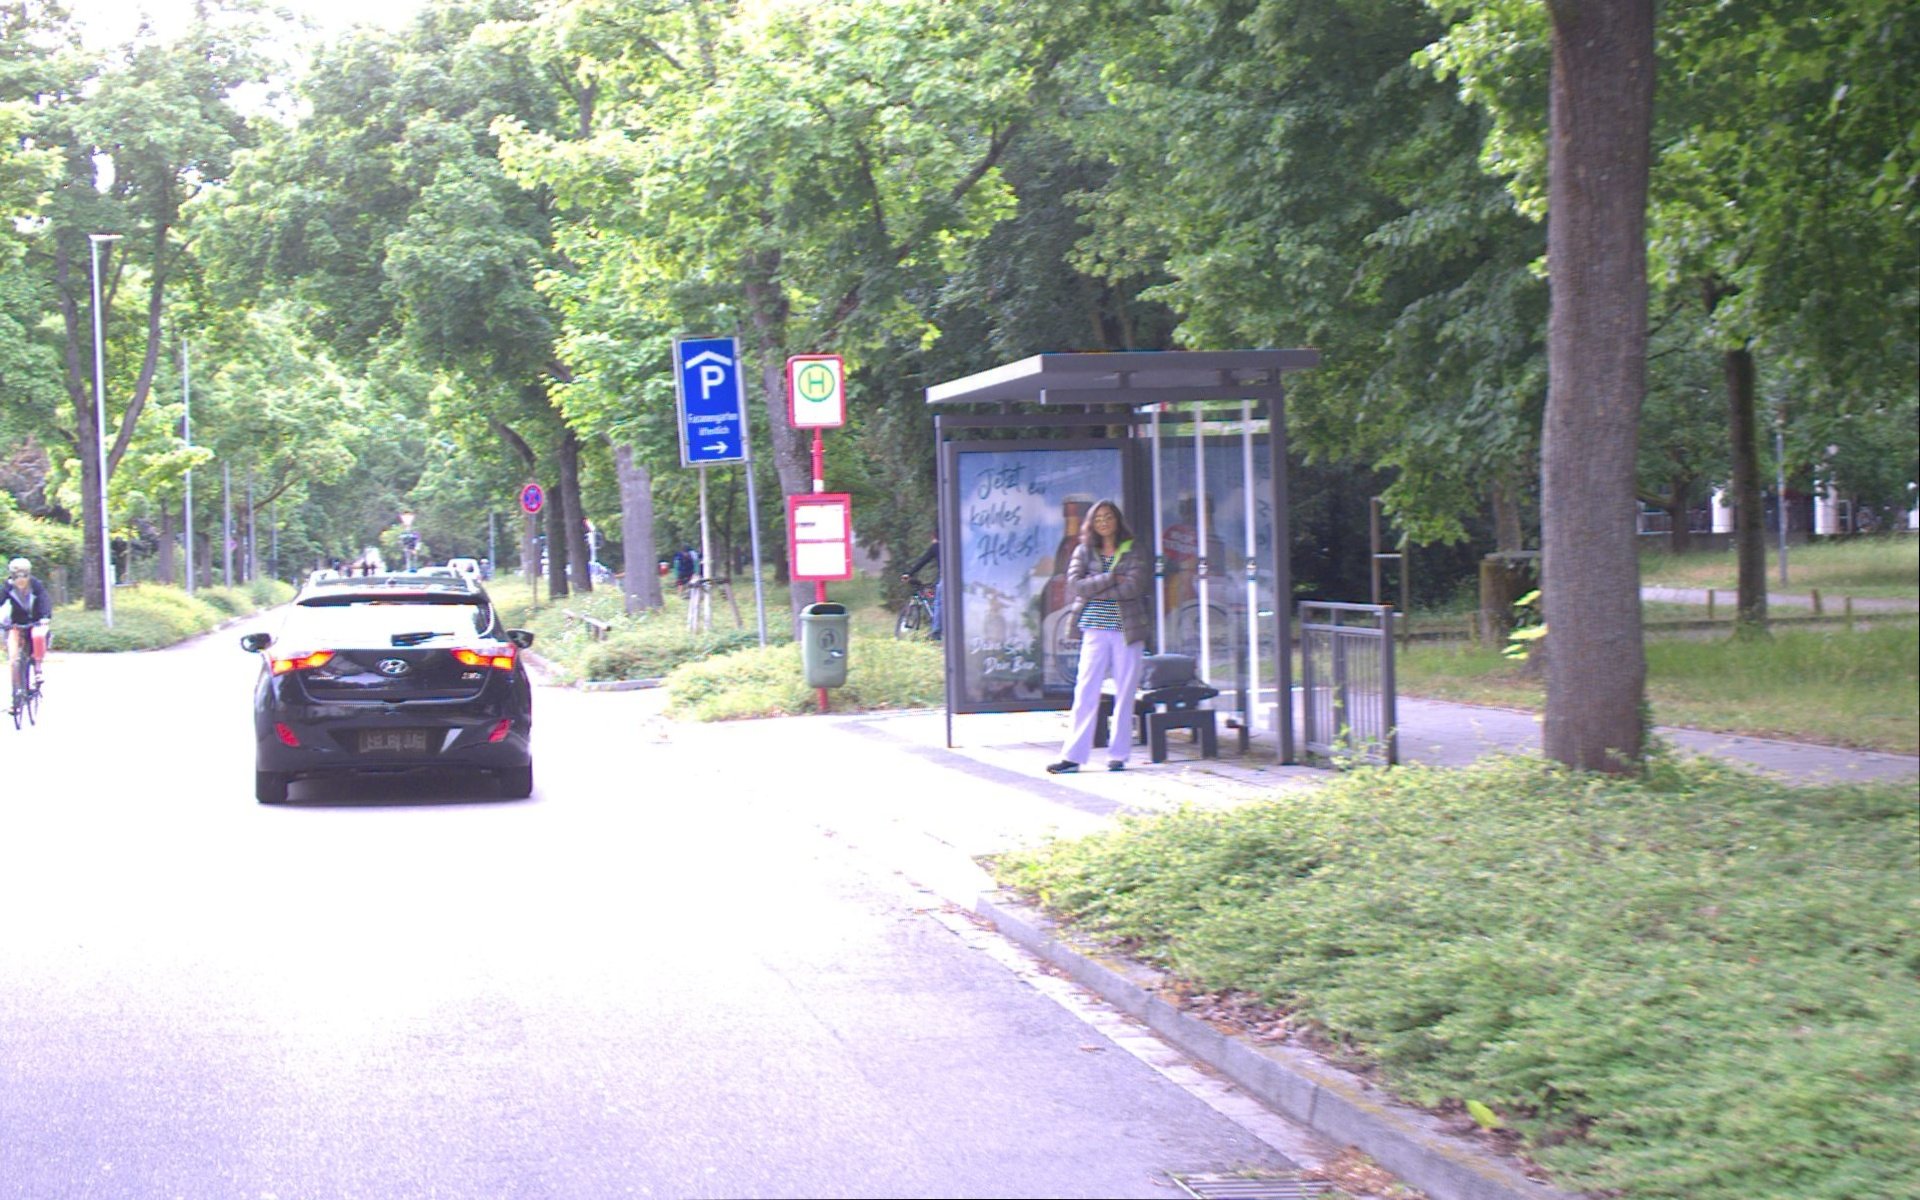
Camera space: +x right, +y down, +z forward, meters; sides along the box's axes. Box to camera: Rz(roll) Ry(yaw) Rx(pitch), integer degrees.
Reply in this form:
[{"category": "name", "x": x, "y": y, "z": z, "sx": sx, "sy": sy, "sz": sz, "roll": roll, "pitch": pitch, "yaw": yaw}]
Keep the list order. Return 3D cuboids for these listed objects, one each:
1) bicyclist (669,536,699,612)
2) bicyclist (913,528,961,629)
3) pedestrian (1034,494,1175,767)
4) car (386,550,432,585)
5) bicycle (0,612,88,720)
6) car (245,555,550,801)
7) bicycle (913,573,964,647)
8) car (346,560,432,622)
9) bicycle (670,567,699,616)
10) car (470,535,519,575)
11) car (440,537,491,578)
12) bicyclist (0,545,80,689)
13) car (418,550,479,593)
[{"category": "bicyclist", "x": -5.727, "y": -0.546, "z": 71.366, "sx": 0.534, "sy": 1.544, "sz": 0.758, "roll": -3, "pitch": 1, "yaw": -2}, {"category": "bicyclist", "x": -0.331, "y": -0.311, "z": 49.006, "sx": 0.596, "sy": 1.404, "sz": 0.758, "roll": -3, "pitch": 1, "yaw": -2}, {"category": "pedestrian", "x": 0.861, "y": 0.170, "z": 20.566, "sx": 0.653, "sy": 1.578, "sz": 0.698, "roll": -2, "pitch": 1, "yaw": -9}, {"category": "car", "x": -25.223, "y": -1.498, "z": 157.309, "sx": 1.993, "sy": 1.481, "sz": 4.001, "roll": -3, "pitch": 1, "yaw": -9}, {"category": "bicycle", "x": -9.716, "y": 0.677, "z": 36.130, "sx": 0.794, "sy": 1.022, "sz": 2.565, "roll": -2, "pitch": 1, "yaw": -9}, {"category": "car", "x": -3.844, "y": 0.455, "z": 23.320, "sx": 1.845, "sy": 1.457, "sz": 3.829, "roll": -1, "pitch": 1, "yaw": -10}, {"category": "bicycle", "x": -0.315, "y": 0.132, "z": 48.982, "sx": 0.607, "sy": 0.971, "sz": 1.944, "roll": -3, "pitch": 1, "yaw": -3}, {"category": "car", "x": -14.291, "y": -0.243, "z": 85.942, "sx": 1.864, "sy": 1.457, "sz": 4.118, "roll": -2, "pitch": 1, "yaw": -12}, {"category": "bicycle", "x": -5.706, "y": -0.187, "z": 71.300, "sx": 0.491, "sy": 0.971, "sz": 1.944, "roll": -3, "pitch": 1, "yaw": -3}, {"category": "car", "x": -24.976, "y": -2.418, "z": 184.412, "sx": 1.993, "sy": 2.007, "sz": 4.001, "roll": -3, "pitch": 1, "yaw": -16}, {"category": "car", "x": -25.770, "y": -2.224, "z": 179.169, "sx": 1.993, "sy": 2.007, "sz": 4.001, "roll": -3, "pitch": 1, "yaw": -17}, {"category": "bicyclist", "x": -9.723, "y": 0.171, "z": 36.086, "sx": 0.784, "sy": 1.464, "sz": 0.937, "roll": -2, "pitch": 1, "yaw": -9}, {"category": "car", "x": -18.305, "y": -1.021, "z": 122.854, "sx": 1.899, "sy": 1.481, "sz": 4.001, "roll": -2, "pitch": 1, "yaw": -11}]
